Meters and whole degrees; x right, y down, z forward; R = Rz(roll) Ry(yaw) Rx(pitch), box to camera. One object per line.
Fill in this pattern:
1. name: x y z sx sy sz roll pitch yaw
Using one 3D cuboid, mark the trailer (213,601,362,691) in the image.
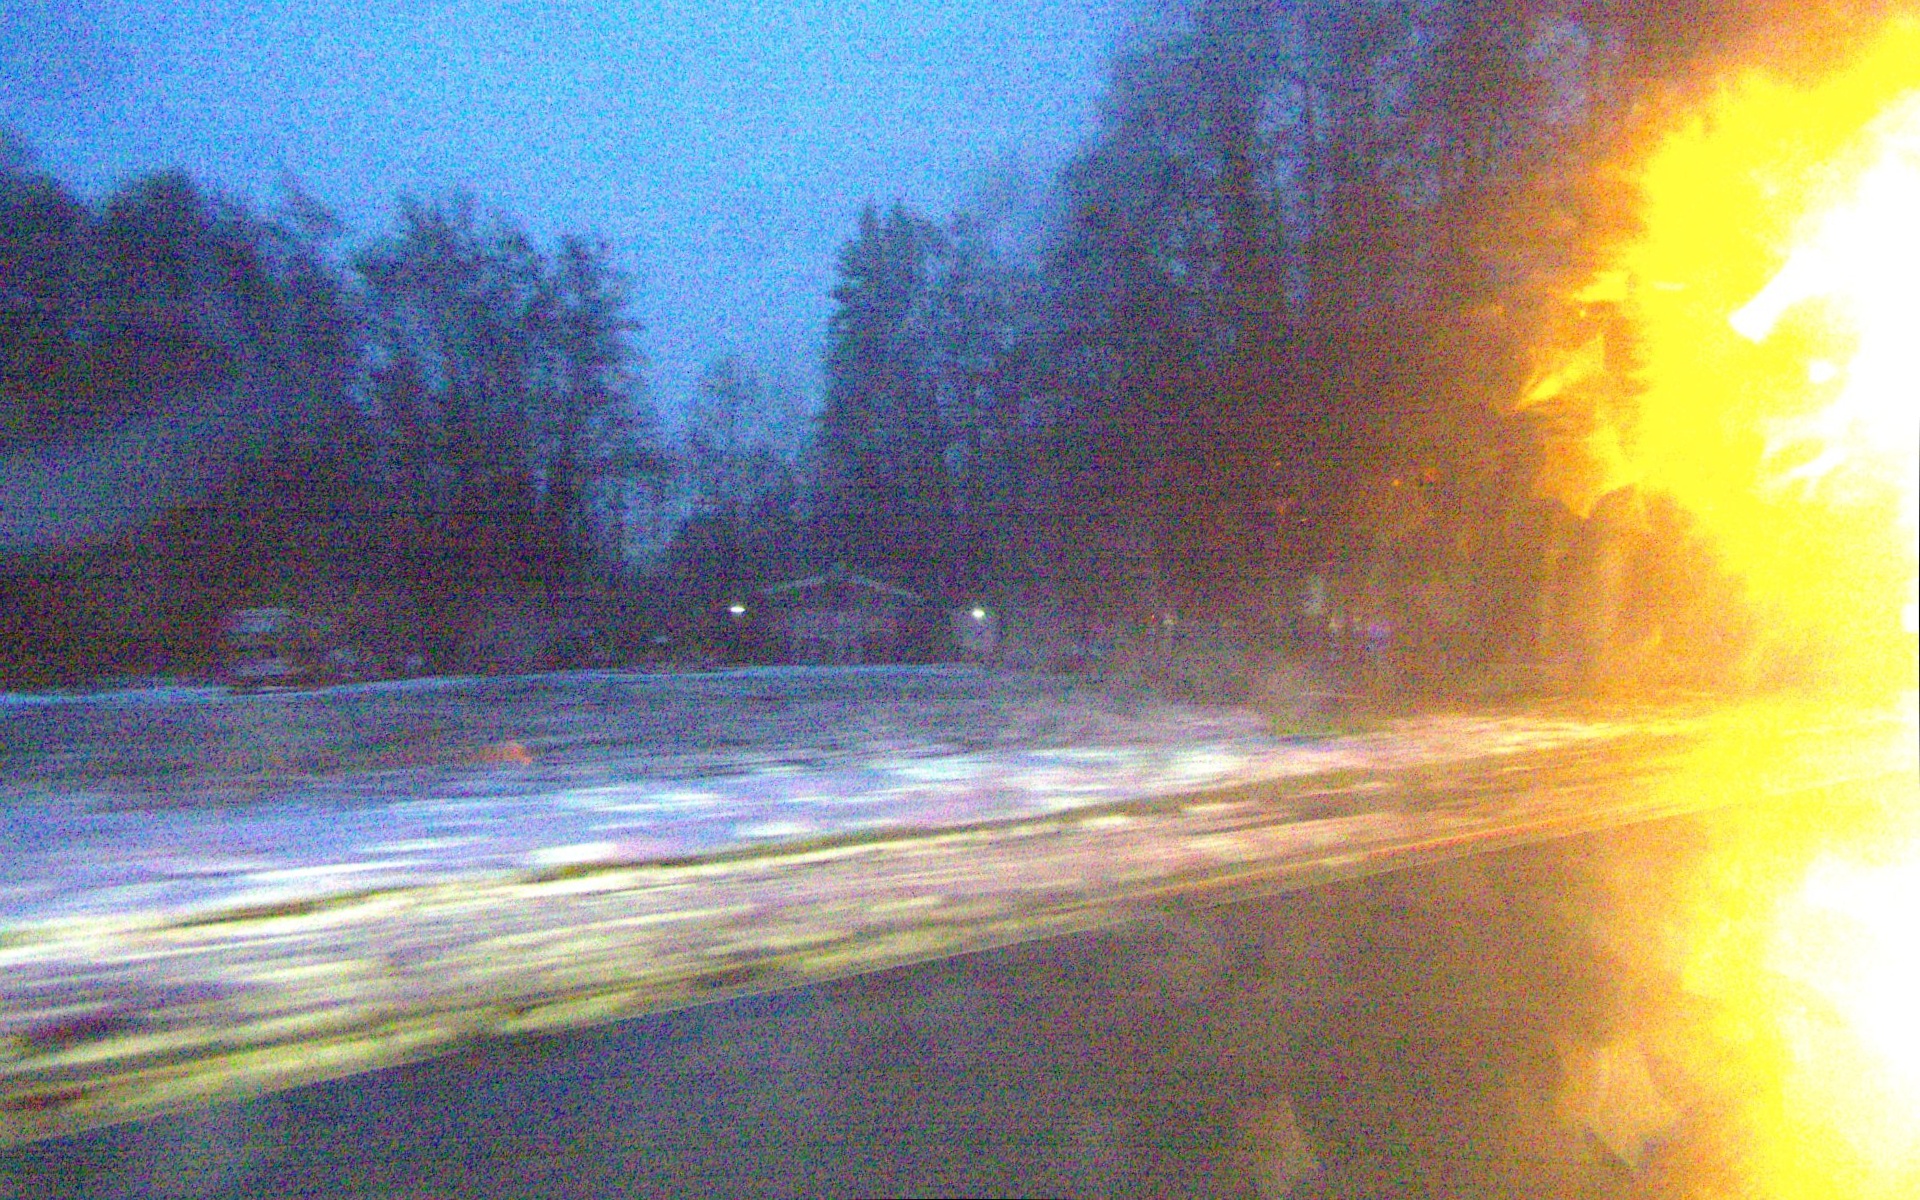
1. trailer: -18.045 1.276 27.194 1.939 2.246 3.804 1 -4 -11
